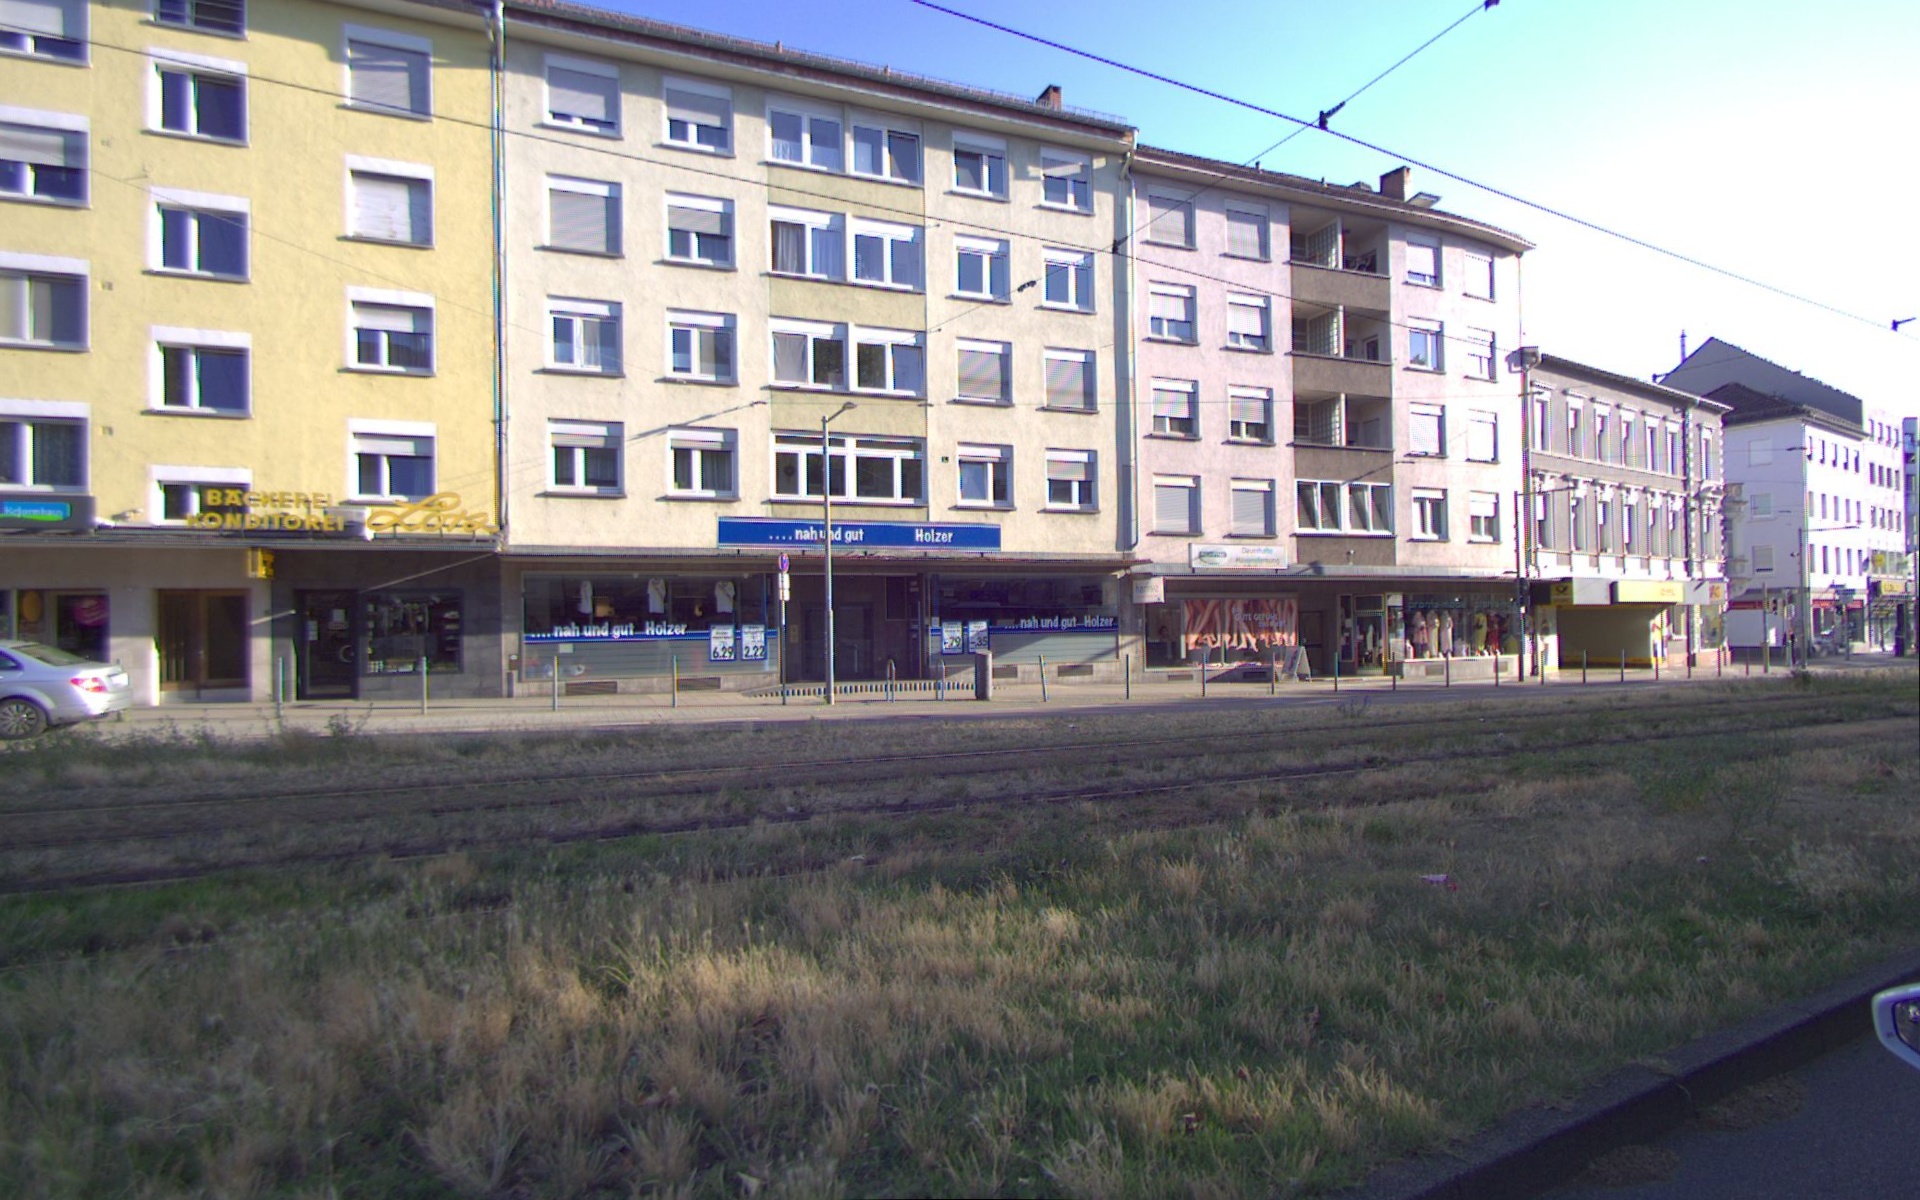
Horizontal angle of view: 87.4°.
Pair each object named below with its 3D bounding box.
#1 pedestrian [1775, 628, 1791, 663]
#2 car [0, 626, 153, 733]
[{"bbox_3d":[40.481,2.240,49.405,0.501,1.736,0.424,1,-1,-26],"label":"pedestrian"},{"bbox_3d":[-15.304,1.181,15.278,4.352,1.498,1.987,1,0,-26],"label":"car"}]
